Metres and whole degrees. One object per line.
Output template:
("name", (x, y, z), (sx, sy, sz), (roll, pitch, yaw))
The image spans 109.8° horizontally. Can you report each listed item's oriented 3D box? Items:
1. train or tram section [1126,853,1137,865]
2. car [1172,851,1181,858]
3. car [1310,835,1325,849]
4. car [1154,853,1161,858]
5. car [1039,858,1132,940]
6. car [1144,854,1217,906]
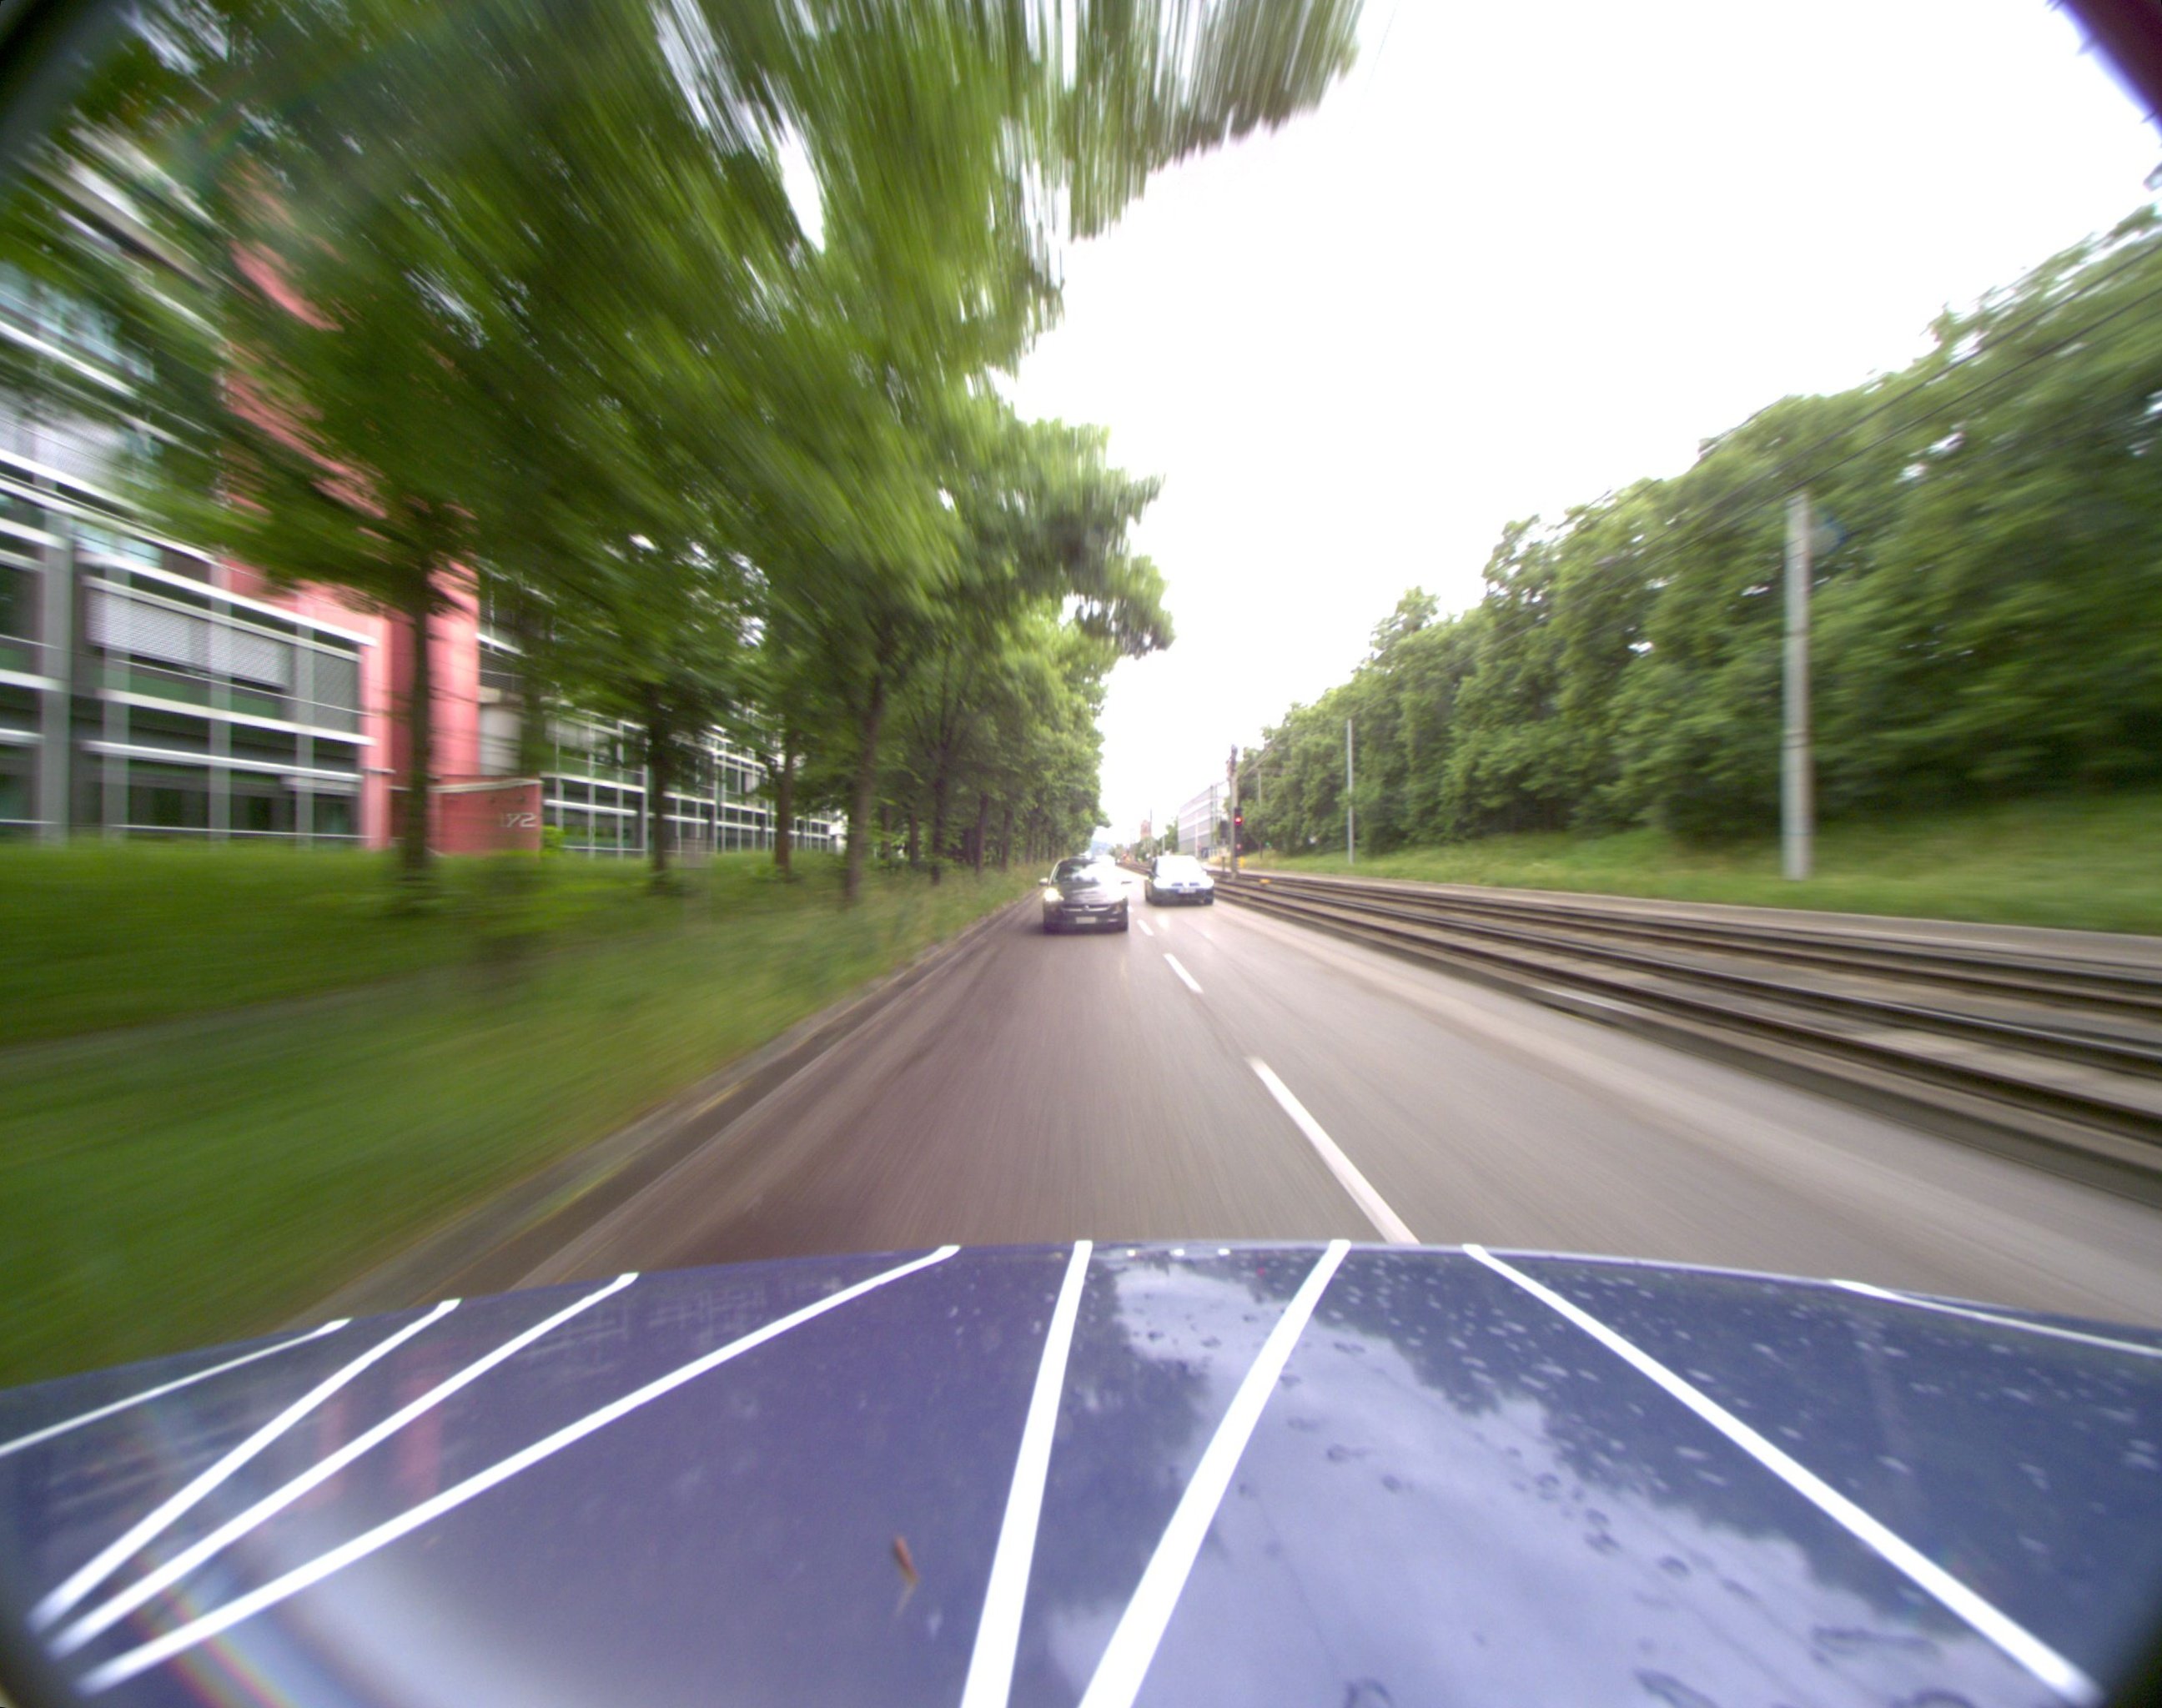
("train or tram section", (16.886, 1.751, 256.265), (2.975, 3.788, 19.521), (-1, 0, 1))
("car", (19.564, 0.044, 155.754), (1.480, 1.427, 3.909), (1, 0, 1))
("car", (33.763, -1.660, 108.680), (1.963, 2.002, 4.222), (0, 0, 17))
("car", (22.277, 0.343, 222.342), (1.657, 1.521, 4.380), (0, 0, 1))
("car", (0.150, 0.862, 16.613), (1.698, 1.439, 4.420), (-2, 0, 2))
("car", (2.975, 0.733, 23.401), (1.770, 1.439, 3.833), (-1, 0, 1))
